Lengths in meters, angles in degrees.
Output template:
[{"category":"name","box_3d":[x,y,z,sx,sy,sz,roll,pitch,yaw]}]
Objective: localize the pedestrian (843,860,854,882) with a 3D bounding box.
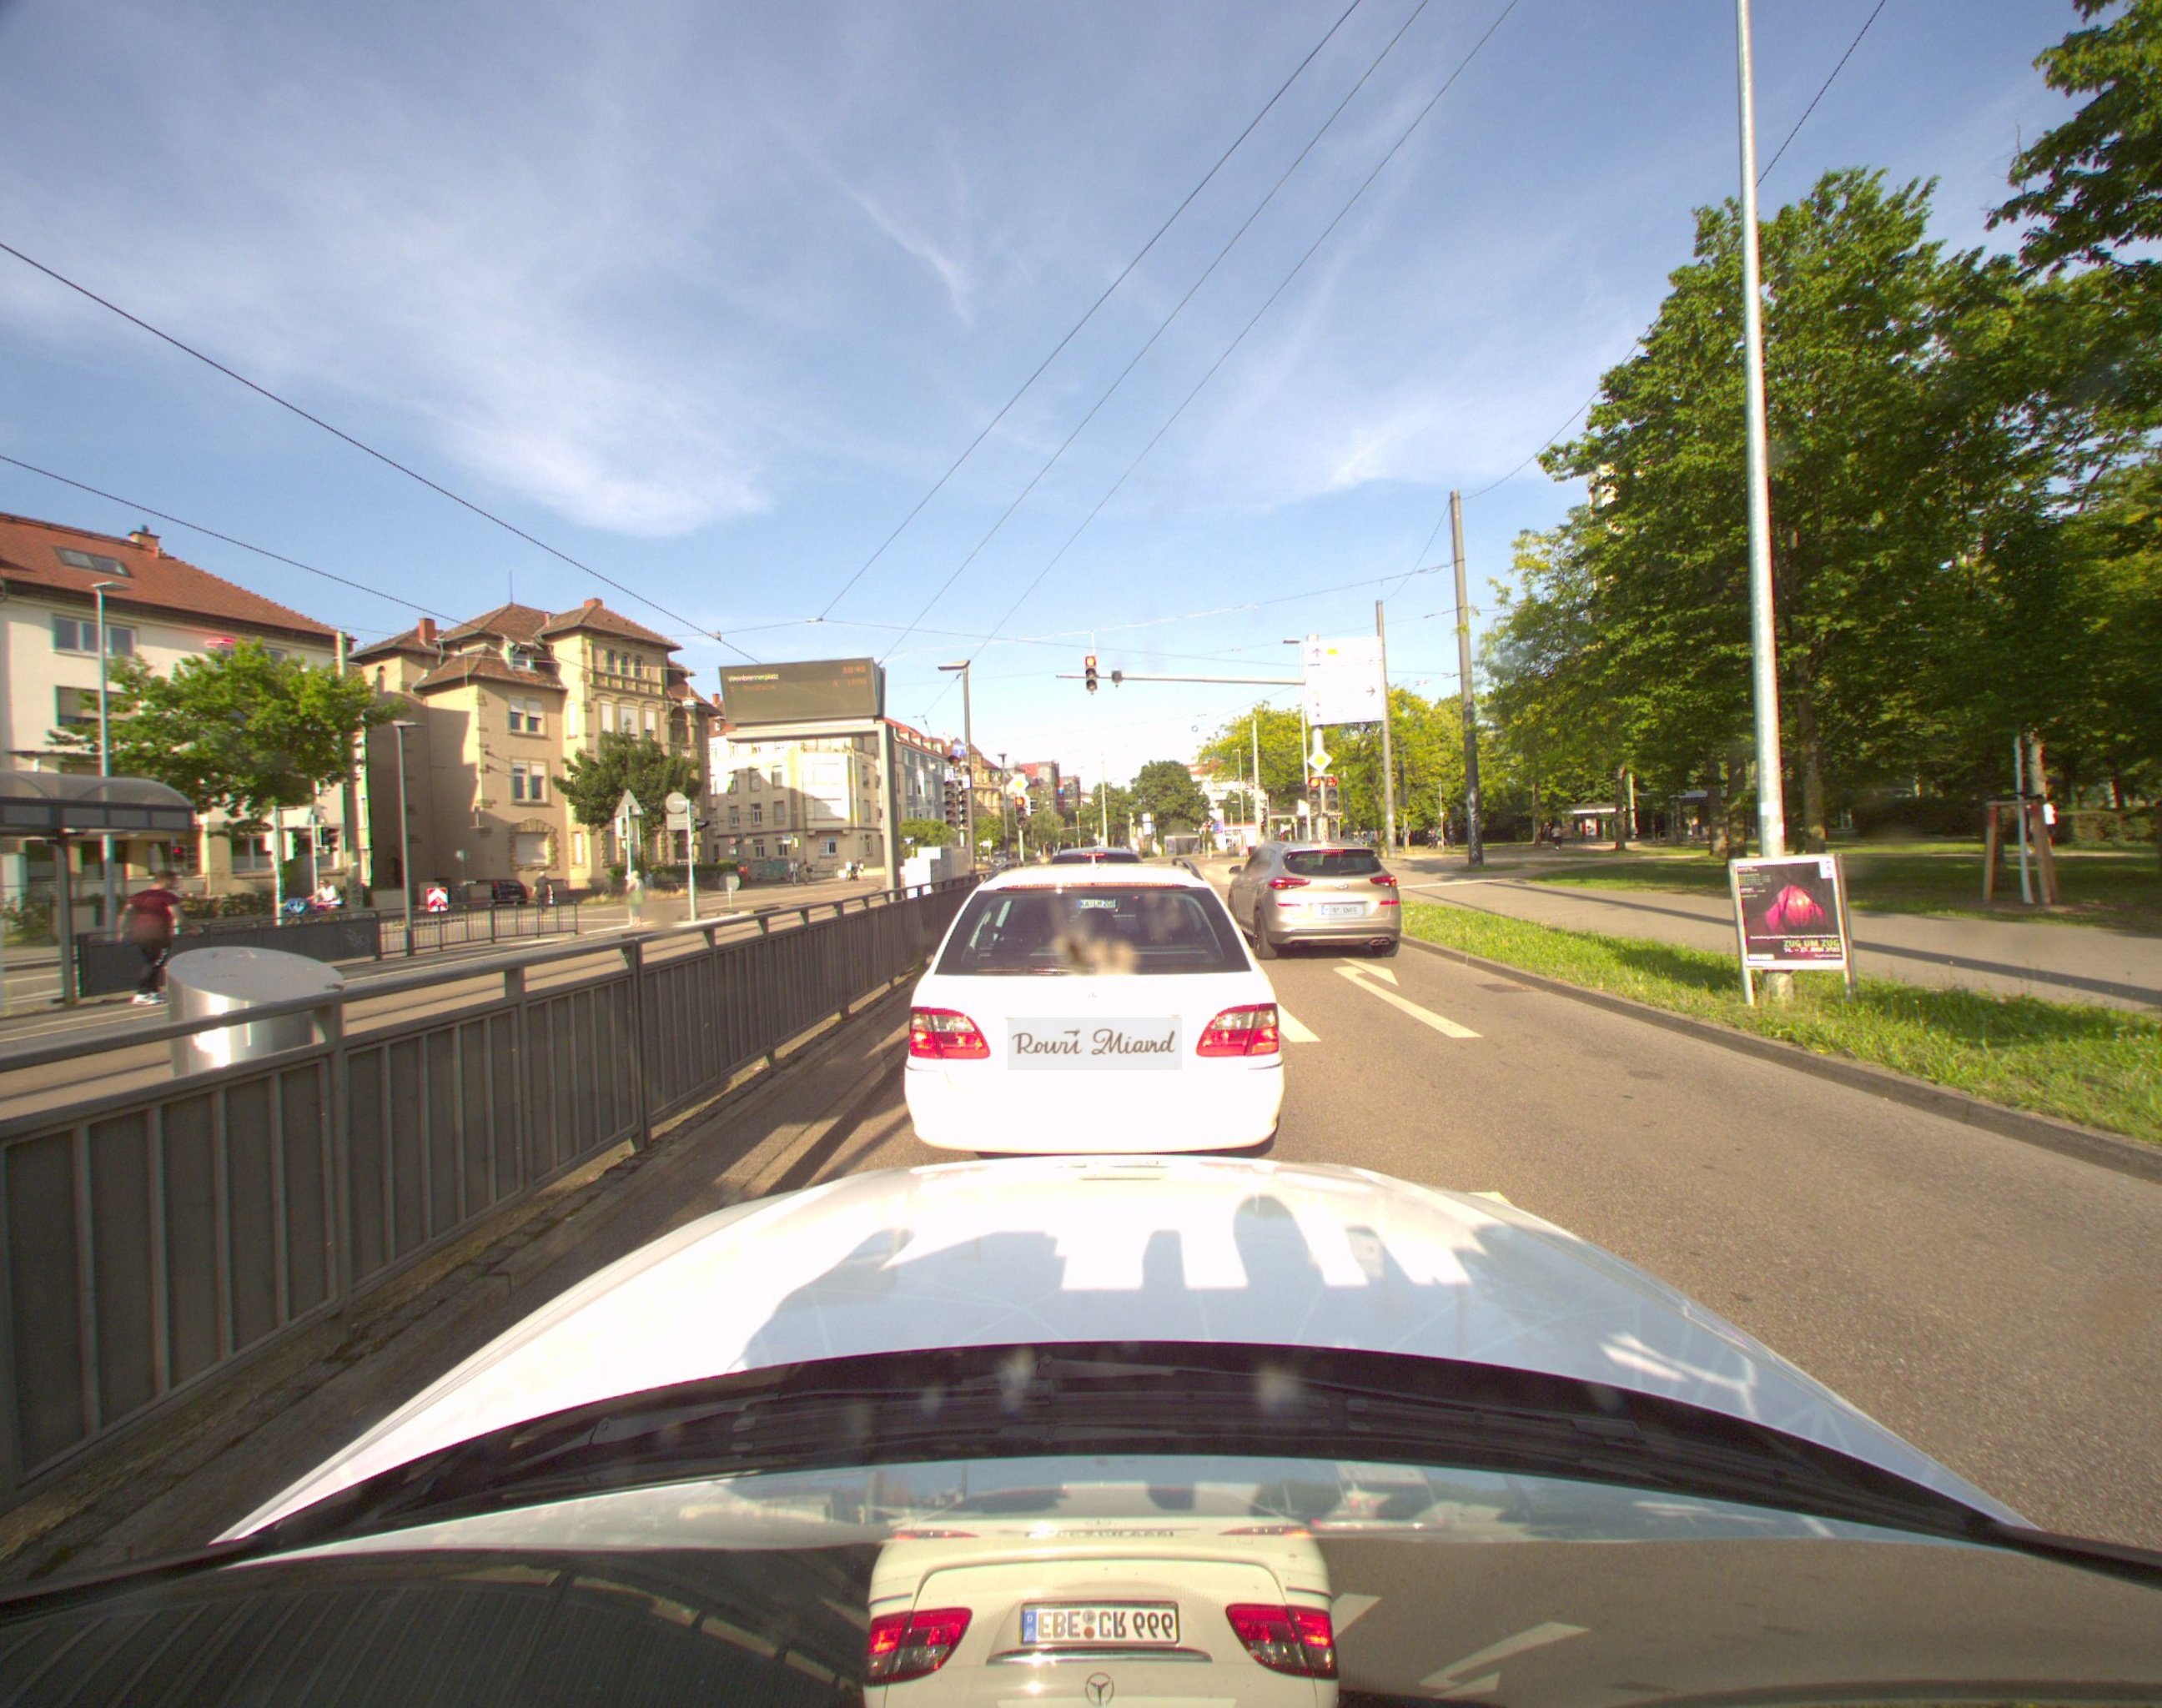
[{"category":"pedestrian","box_3d":[-17.658,1.307,61.884,0.506,1.626,0.609,-3,0,3]}]

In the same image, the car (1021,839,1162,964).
[{"category":"car","box_3d":[0.203,0.626,12.682,1.878,1.651,3.649,0,0,2]}]

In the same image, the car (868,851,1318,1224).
[{"category":"car","box_3d":[0.091,0.736,5.116,1.789,1.470,3.648,-1,0,1]}]

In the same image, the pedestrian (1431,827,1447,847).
[{"category":"pedestrian","box_3d":[28.102,-1.326,63.883,0.813,1.487,0.698,-3,0,-9]}]

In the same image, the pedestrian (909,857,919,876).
[{"category":"pedestrian","box_3d":[-15.255,1.164,74.598,0.579,1.660,0.624,-3,0,18]}]

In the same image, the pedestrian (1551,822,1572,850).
[{"category":"pedestrian","box_3d":[28.566,-1.081,48.428,0.758,1.636,0.800,-3,0,-38]}]

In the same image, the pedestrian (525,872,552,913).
[{"category":"pedestrian","box_3d":[-22.422,1.586,33.655,0.798,1.645,0.748,-3,0,-42]}]

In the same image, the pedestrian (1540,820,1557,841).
[{"category":"pedestrian","box_3d":[36.660,-1.850,63.836,0.831,1.636,0.804,-3,0,8]}]

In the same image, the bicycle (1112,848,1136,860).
[{"category":"bicycle","box_3d":[4.720,-0.025,89.224,2.467,1.213,0.809,-3,0,9]}]

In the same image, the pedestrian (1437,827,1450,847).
[{"category":"pedestrian","box_3d":[27.766,-1.305,62.378,0.805,1.487,0.705,-3,0,26]}]

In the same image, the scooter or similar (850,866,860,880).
[{"category":"scooter or similar","box_3d":[-17.418,1.441,62.812,0.541,1.079,0.683,-1,-1,1]}]

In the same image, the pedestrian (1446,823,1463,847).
[{"category":"pedestrian","box_3d":[29.117,-1.480,63.503,0.797,1.785,0.838,-3,0,-2]}]

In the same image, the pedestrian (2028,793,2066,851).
[{"category":"pedestrian","box_3d":[30.955,-1.009,26.101,0.504,1.811,0.624,-3,0,-27]}]

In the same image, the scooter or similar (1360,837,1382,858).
[{"category":"scooter or similar","box_3d":[16.122,-0.362,45.272,0.421,1.117,1.322,-3,0,-18]}]

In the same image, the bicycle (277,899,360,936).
[{"category":"bicycle","box_3d":[-20.507,1.703,21.952,0.523,0.834,1.688,-3,0,4]}]

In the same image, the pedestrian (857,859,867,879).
[{"category":"pedestrian","box_3d":[-16.710,1.166,62.200,0.434,1.500,0.551,-3,0,16]}]

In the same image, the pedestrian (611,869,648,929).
[{"category":"pedestrian","box_3d":[-12.522,1.237,22.611,0.611,1.599,0.632,-3,0,-5]}]

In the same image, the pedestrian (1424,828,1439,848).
[{"category":"pedestrian","box_3d":[27.253,-1.243,63.295,0.820,1.487,0.692,-3,0,-40]}]

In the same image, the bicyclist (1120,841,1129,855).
[{"category":"bicyclist","box_3d":[4.796,-0.651,89.212,0.855,1.482,0.792,-3,0,11]}]

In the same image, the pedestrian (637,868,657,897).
[{"category":"pedestrian","box_3d":[-24.005,1.579,45.060,0.626,1.541,0.711,-3,0,1]}]

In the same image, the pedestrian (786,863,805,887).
[{"category":"pedestrian","box_3d":[-19.799,1.443,56.432,0.822,1.552,0.786,-3,0,23]}]

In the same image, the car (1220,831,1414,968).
[{"category":"car","box_3d":[3.315,0.568,12.191,1.878,1.651,3.649,-3,0,2]}]

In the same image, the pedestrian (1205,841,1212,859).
[{"category":"pedestrian","box_3d":[13.051,-0.429,83.399,0.638,1.857,0.554,-3,0,13]}]

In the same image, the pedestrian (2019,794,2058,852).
[{"category":"pedestrian","box_3d":[30.337,-0.973,25.798,0.503,1.811,0.624,-3,0,-24]}]

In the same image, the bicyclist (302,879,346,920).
[{"category":"bicyclist","box_3d":[-20.519,1.234,22.077,0.510,1.044,0.680,-3,0,3]}]

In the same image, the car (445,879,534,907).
[{"category":"car","box_3d":[-29.456,1.913,40.567,4.066,1.310,1.774,-1,-1,24]}]

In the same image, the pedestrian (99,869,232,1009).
[{"category":"pedestrian","box_3d":[-11.894,1.069,10.611,0.551,1.684,0.878,-6,0,2]}]

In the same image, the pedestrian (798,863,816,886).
[{"category":"pedestrian","box_3d":[-18.911,1.406,56.232,0.822,1.552,0.786,-3,0,23]}]
